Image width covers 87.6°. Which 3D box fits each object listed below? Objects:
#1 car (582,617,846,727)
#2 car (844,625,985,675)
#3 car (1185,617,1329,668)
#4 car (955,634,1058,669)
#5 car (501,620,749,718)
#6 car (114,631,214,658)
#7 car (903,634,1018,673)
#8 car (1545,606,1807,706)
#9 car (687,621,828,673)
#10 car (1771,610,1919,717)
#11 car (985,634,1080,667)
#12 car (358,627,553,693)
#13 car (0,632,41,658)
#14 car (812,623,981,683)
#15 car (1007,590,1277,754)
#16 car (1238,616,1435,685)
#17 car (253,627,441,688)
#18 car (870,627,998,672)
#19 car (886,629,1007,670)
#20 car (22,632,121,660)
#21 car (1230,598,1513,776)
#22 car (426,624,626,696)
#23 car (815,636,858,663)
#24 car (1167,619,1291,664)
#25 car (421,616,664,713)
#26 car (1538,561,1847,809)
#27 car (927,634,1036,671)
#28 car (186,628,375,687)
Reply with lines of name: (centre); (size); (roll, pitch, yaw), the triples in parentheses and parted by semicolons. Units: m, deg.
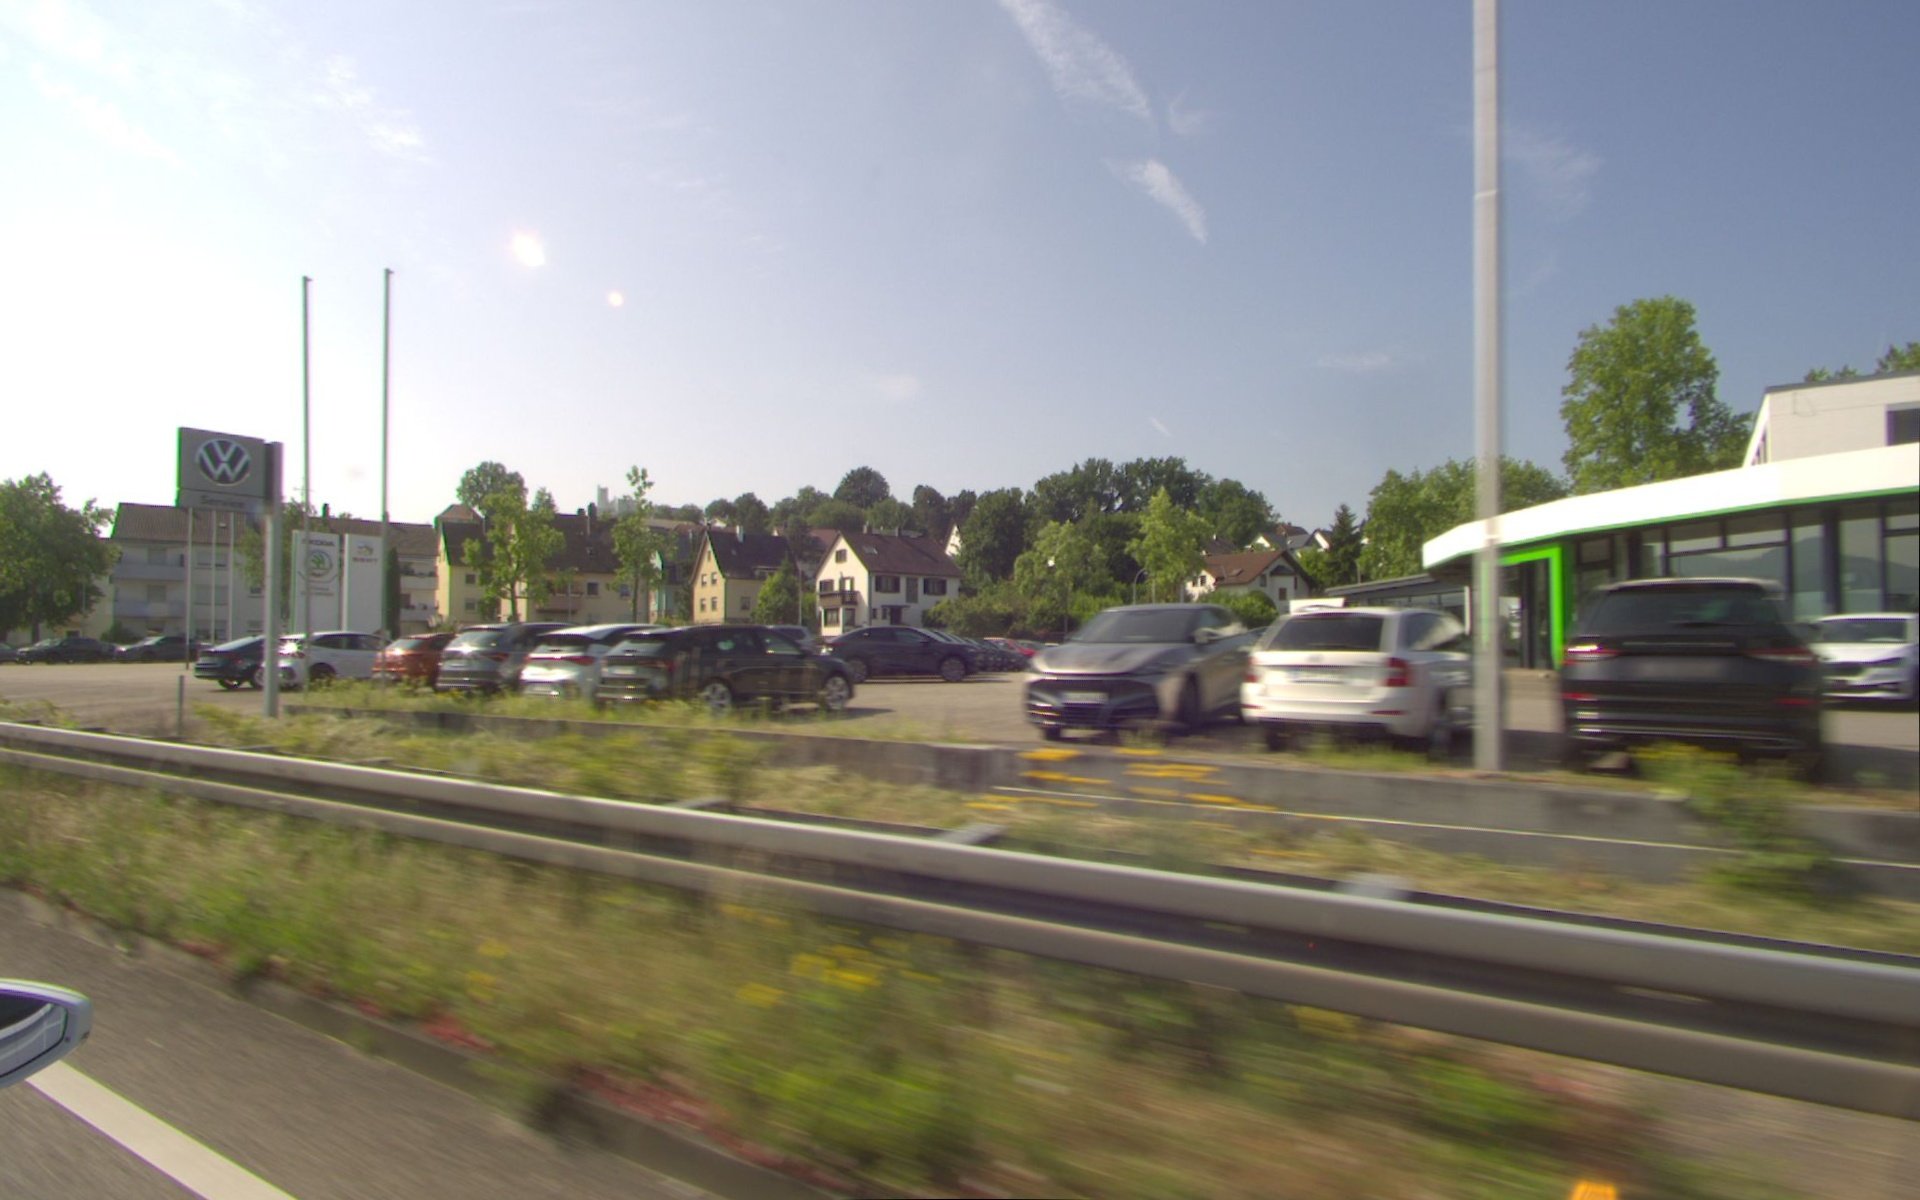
car: (-3.741, 1.061, 15.846); (1.706, 1.513, 3.978); (-2, -2, 34)
car: (-1.503, 1.705, 34.424); (4.659, 1.585, 1.932); (-1, -1, 2)
car: (9.758, 1.395, 33.193); (4.272, 1.585, 1.791); (-1, -1, 5)
car: (2.211, 2.458, 48.040); (4.537, 1.566, 1.996); (-2, -1, 27)
car: (-5.774, 1.144, 17.704); (1.765, 1.513, 3.981); (-1, -2, 31)
car: (-47.826, 2.638, 60.303); (1.829, 1.541, 4.636); (-1, -2, 11)
car: (0.047, 2.282, 42.808); (4.528, 1.566, 2.001); (-1, -1, 18)
car: (12.787, 0.938, 17.888); (4.284, 1.585, 1.786); (0, -1, -22)
car: (-6.678, 1.520, 33.475); (1.904, 1.585, 4.727); (-2, -1, 32)
car: (14.903, 0.926, 16.169); (4.665, 1.508, 1.777); (0, -1, -38)
car: (3.599, 2.520, 50.064); (4.403, 1.566, 1.829); (-2, -1, 35)
car: (-12.306, 1.425, 24.676); (1.798, 1.464, 3.983); (-1, -2, 30)
car: (-57.486, 2.679, 59.819); (1.625, 1.541, 3.768); (0, -2, 0)
car: (-1.789, 1.484, 28.762); (4.659, 1.585, 1.932); (-1, -1, -2)
car: (2.429, 0.772, 12.290); (1.828, 1.621, 4.441); (-1, -2, 31)
car: (9.349, 1.223, 24.992); (4.274, 1.585, 1.790); (-1, -1, -10)
car: (-16.797, 1.532, 27.653); (1.798, 1.535, 4.088); (-1, -2, 30)
car: (-0.942, 1.845, 37.462); (4.521, 1.566, 2.003); (-1, -1, 7)
car: (-0.510, 1.982, 40.259); (4.524, 1.566, 2.002); (-1, -1, 13)
car: (-53.454, 2.757, 60.345); (1.805, 1.620, 4.499); (-1, -2, 3)
car: (4.502, 0.789, 10.611); (1.702, 1.505, 4.019); (-2, -2, 39)
car: (-9.941, 1.333, 23.218); (1.815, 1.505, 3.983); (-1, -2, 30)
car: (-7.986, 3.170, 64.930); (1.742, 1.566, 4.752); (-1, -1, 6)
car: (9.844, 1.524, 36.909); (4.275, 1.585, 1.790); (-1, -1, 12)
car: (-7.775, 1.162, 19.045); (1.765, 1.630, 4.074); (-1, -2, 29)
car: (6.524, 0.628, 8.908); (1.818, 1.685, 3.863); (-2, -2, 39)
car: (0.978, 2.373, 45.465); (4.531, 1.566, 1.999); (-1, -1, 21)
car: (-19.319, 1.586, 28.675); (1.796, 1.535, 4.155); (-1, -1, 26)
